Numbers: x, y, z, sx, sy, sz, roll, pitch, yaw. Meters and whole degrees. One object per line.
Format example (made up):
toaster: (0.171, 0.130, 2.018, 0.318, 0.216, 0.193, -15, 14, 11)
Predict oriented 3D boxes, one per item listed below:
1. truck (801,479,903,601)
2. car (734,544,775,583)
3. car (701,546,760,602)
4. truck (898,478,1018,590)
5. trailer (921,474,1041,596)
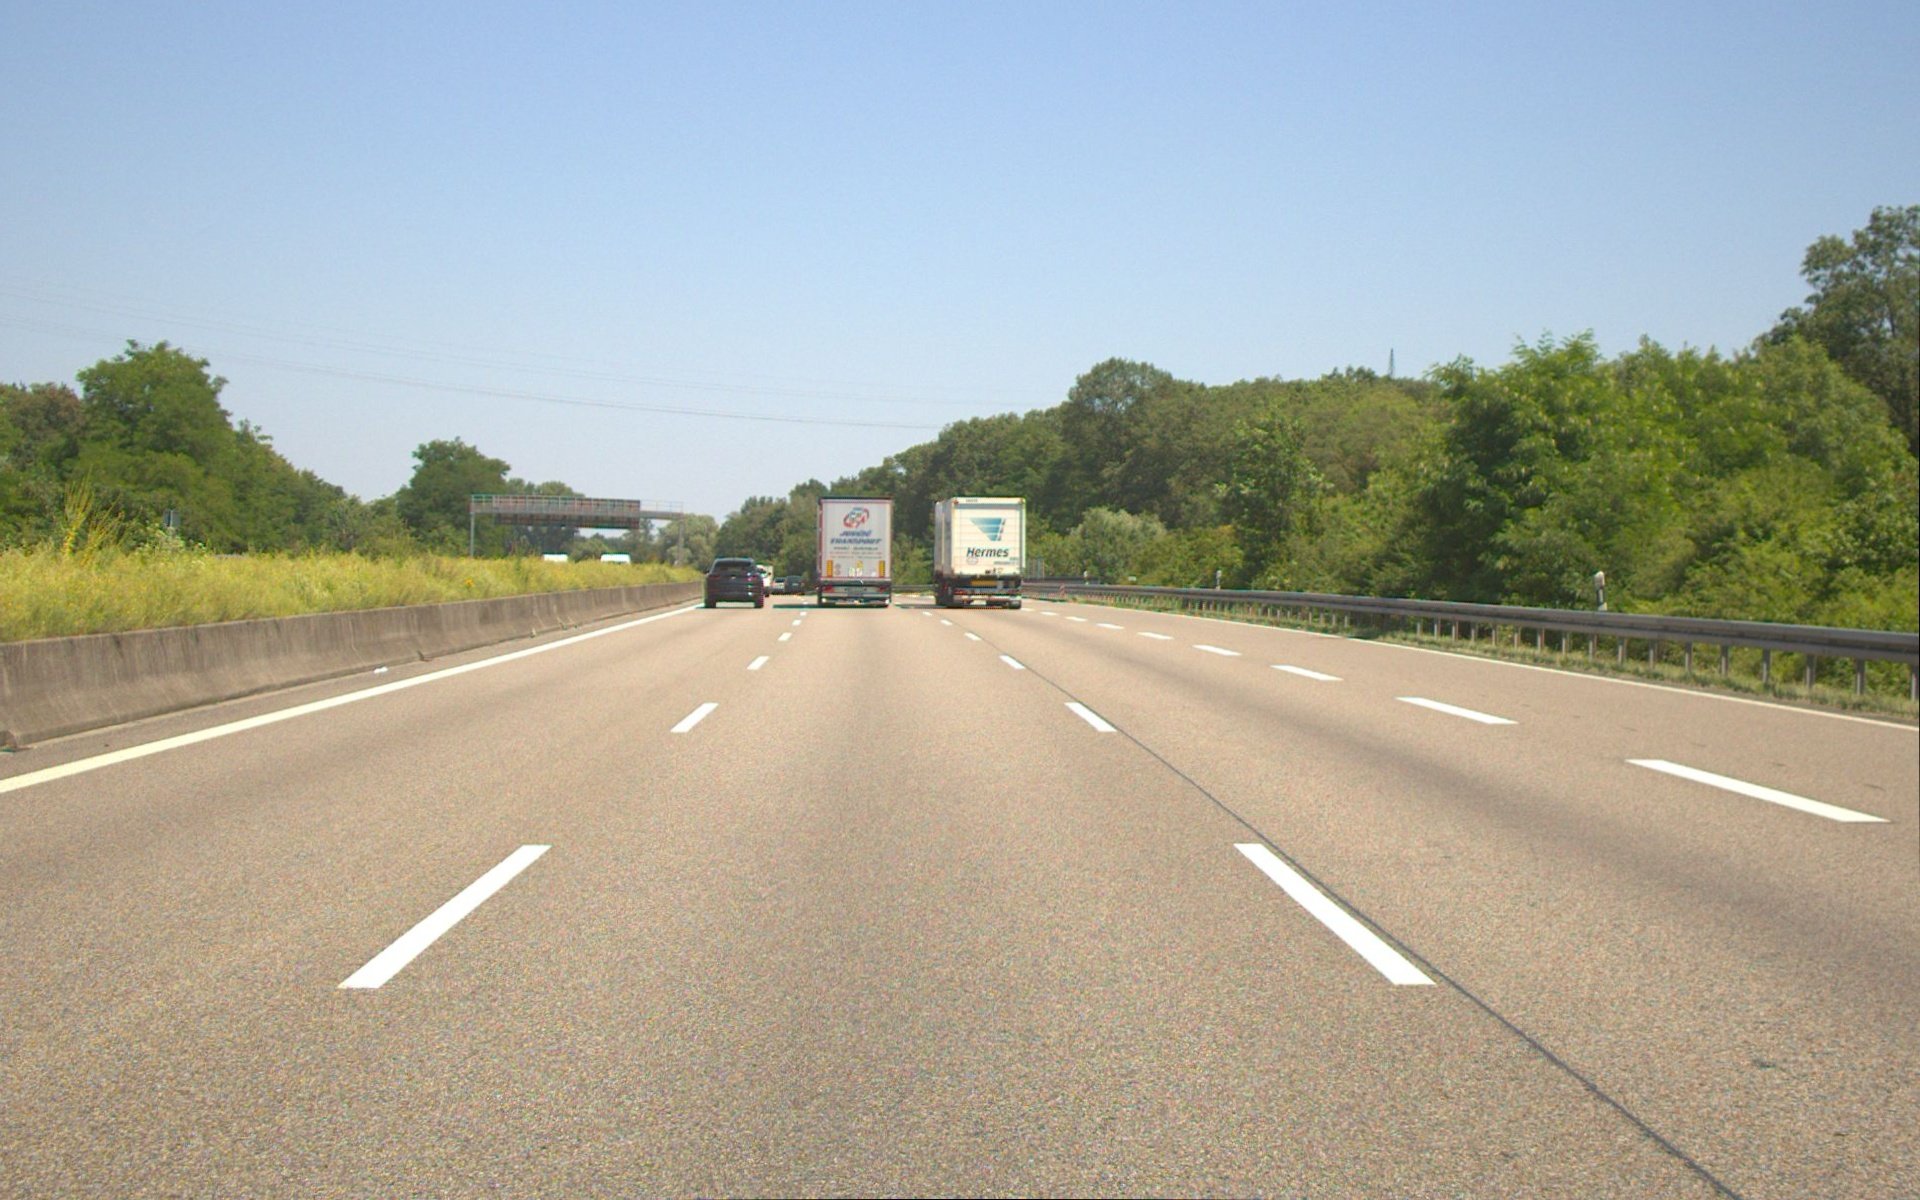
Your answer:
truck: (-3.928, -2.185, 123.309, 3.229, 4.187, 8.467, 1, 1, -4)
car: (-10.615, -1.892, 177.408, 1.993, 1.868, 4.001, 1, 1, -5)
car: (-7.948, -0.917, 119.219, 1.993, 1.868, 4.001, 1, 1, -4)
truck: (-0.180, -2.536, 130.601, 3.325, 4.039, 10.956, 1, 1, -6)
trailer: (0.674, -2.341, 122.078, 3.367, 4.128, 9.093, 1, 1, -5)
